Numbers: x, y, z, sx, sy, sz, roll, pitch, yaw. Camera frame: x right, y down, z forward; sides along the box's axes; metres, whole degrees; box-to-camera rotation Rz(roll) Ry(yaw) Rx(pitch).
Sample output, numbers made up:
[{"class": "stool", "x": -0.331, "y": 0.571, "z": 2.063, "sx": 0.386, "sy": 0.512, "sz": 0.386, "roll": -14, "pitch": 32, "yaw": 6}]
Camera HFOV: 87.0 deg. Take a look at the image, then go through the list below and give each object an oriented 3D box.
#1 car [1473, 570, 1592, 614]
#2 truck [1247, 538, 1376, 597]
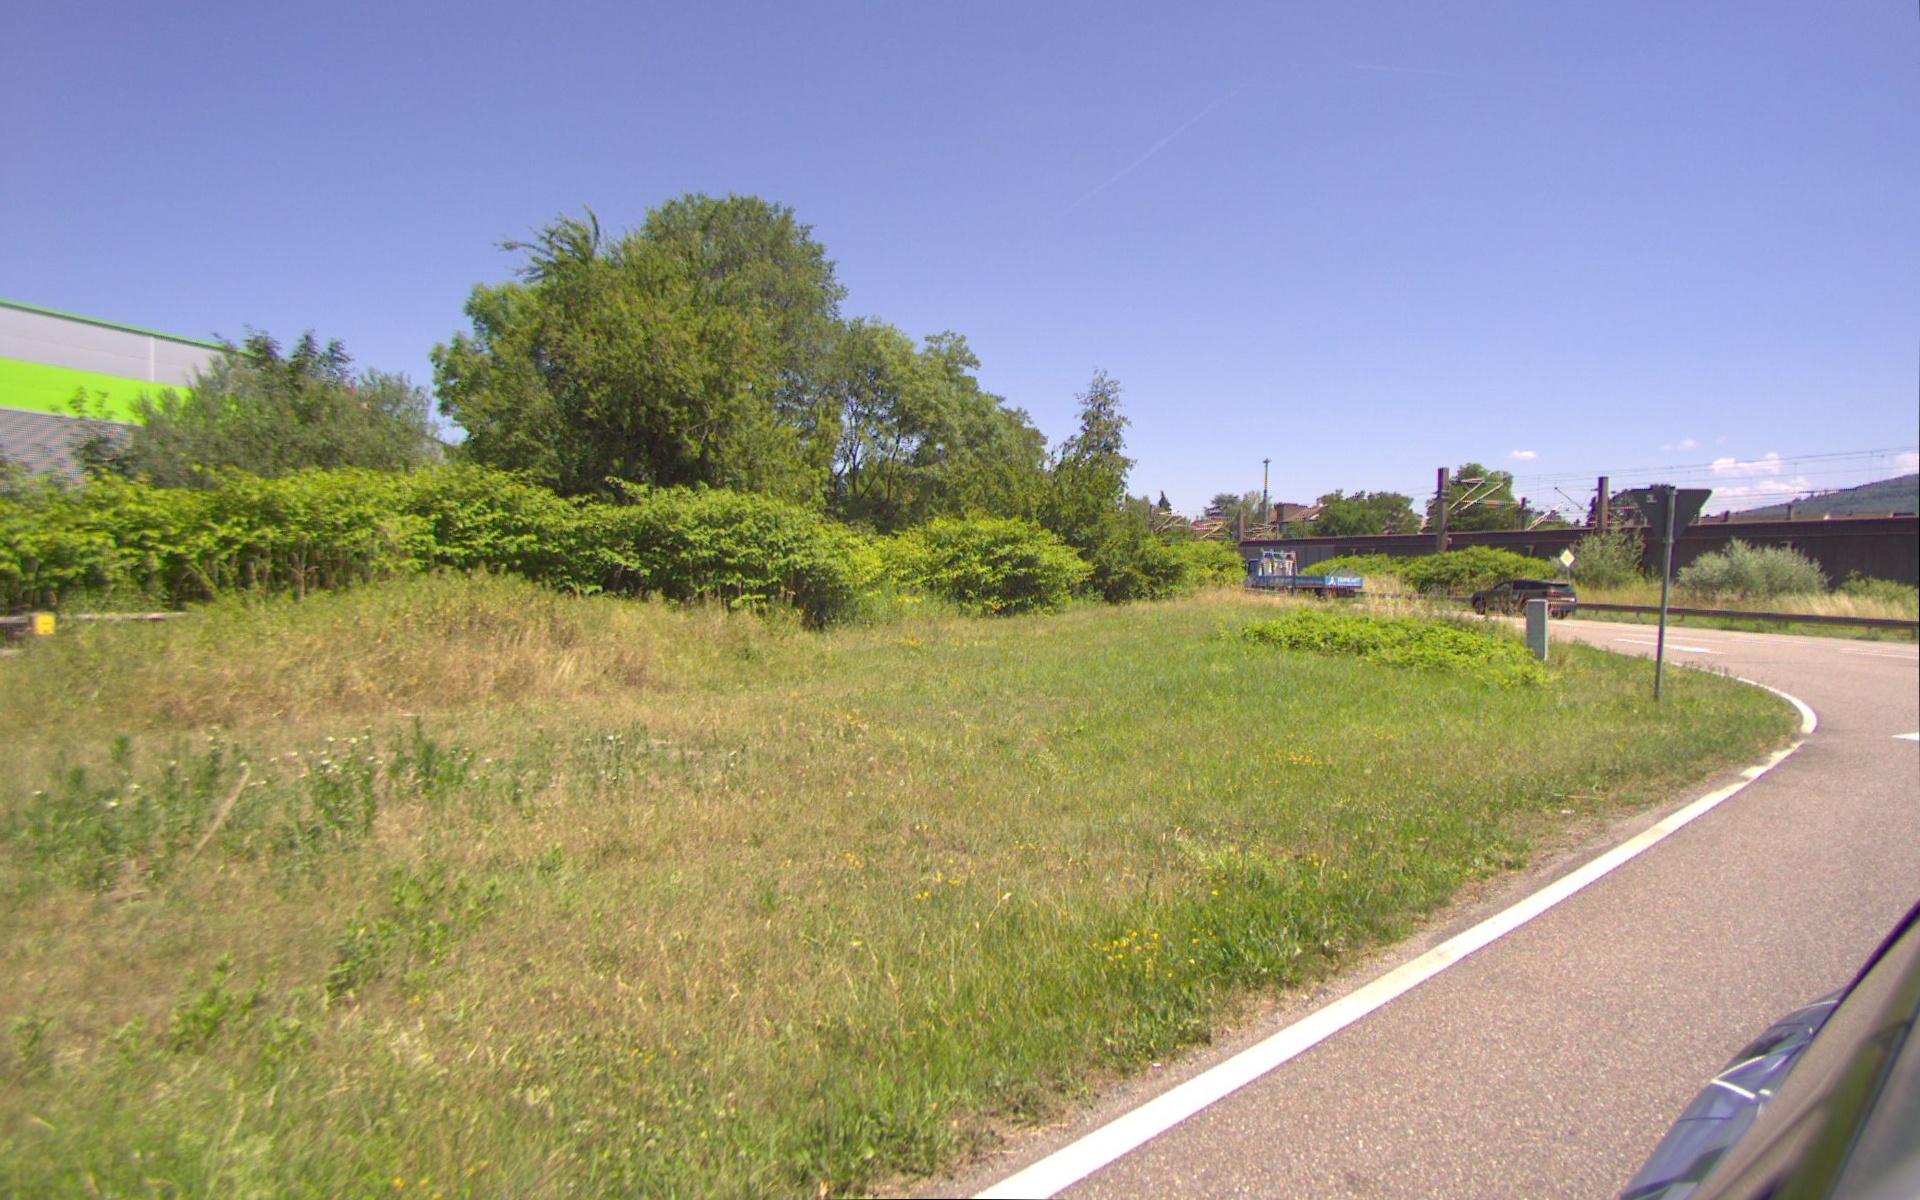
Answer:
[{"class": "car", "x": 25.019, "y": -0.393, "z": 44.431, "sx": 1.669, "sy": 1.647, "sz": 4.635, "roll": 2, "pitch": 2, "yaw": -17}, {"class": "truck", "x": 20.846, "y": -1.999, "z": 60.762, "sx": 2.861, "sy": 3.188, "sz": 8.647, "roll": 2, "pitch": 2, "yaw": -15}]
